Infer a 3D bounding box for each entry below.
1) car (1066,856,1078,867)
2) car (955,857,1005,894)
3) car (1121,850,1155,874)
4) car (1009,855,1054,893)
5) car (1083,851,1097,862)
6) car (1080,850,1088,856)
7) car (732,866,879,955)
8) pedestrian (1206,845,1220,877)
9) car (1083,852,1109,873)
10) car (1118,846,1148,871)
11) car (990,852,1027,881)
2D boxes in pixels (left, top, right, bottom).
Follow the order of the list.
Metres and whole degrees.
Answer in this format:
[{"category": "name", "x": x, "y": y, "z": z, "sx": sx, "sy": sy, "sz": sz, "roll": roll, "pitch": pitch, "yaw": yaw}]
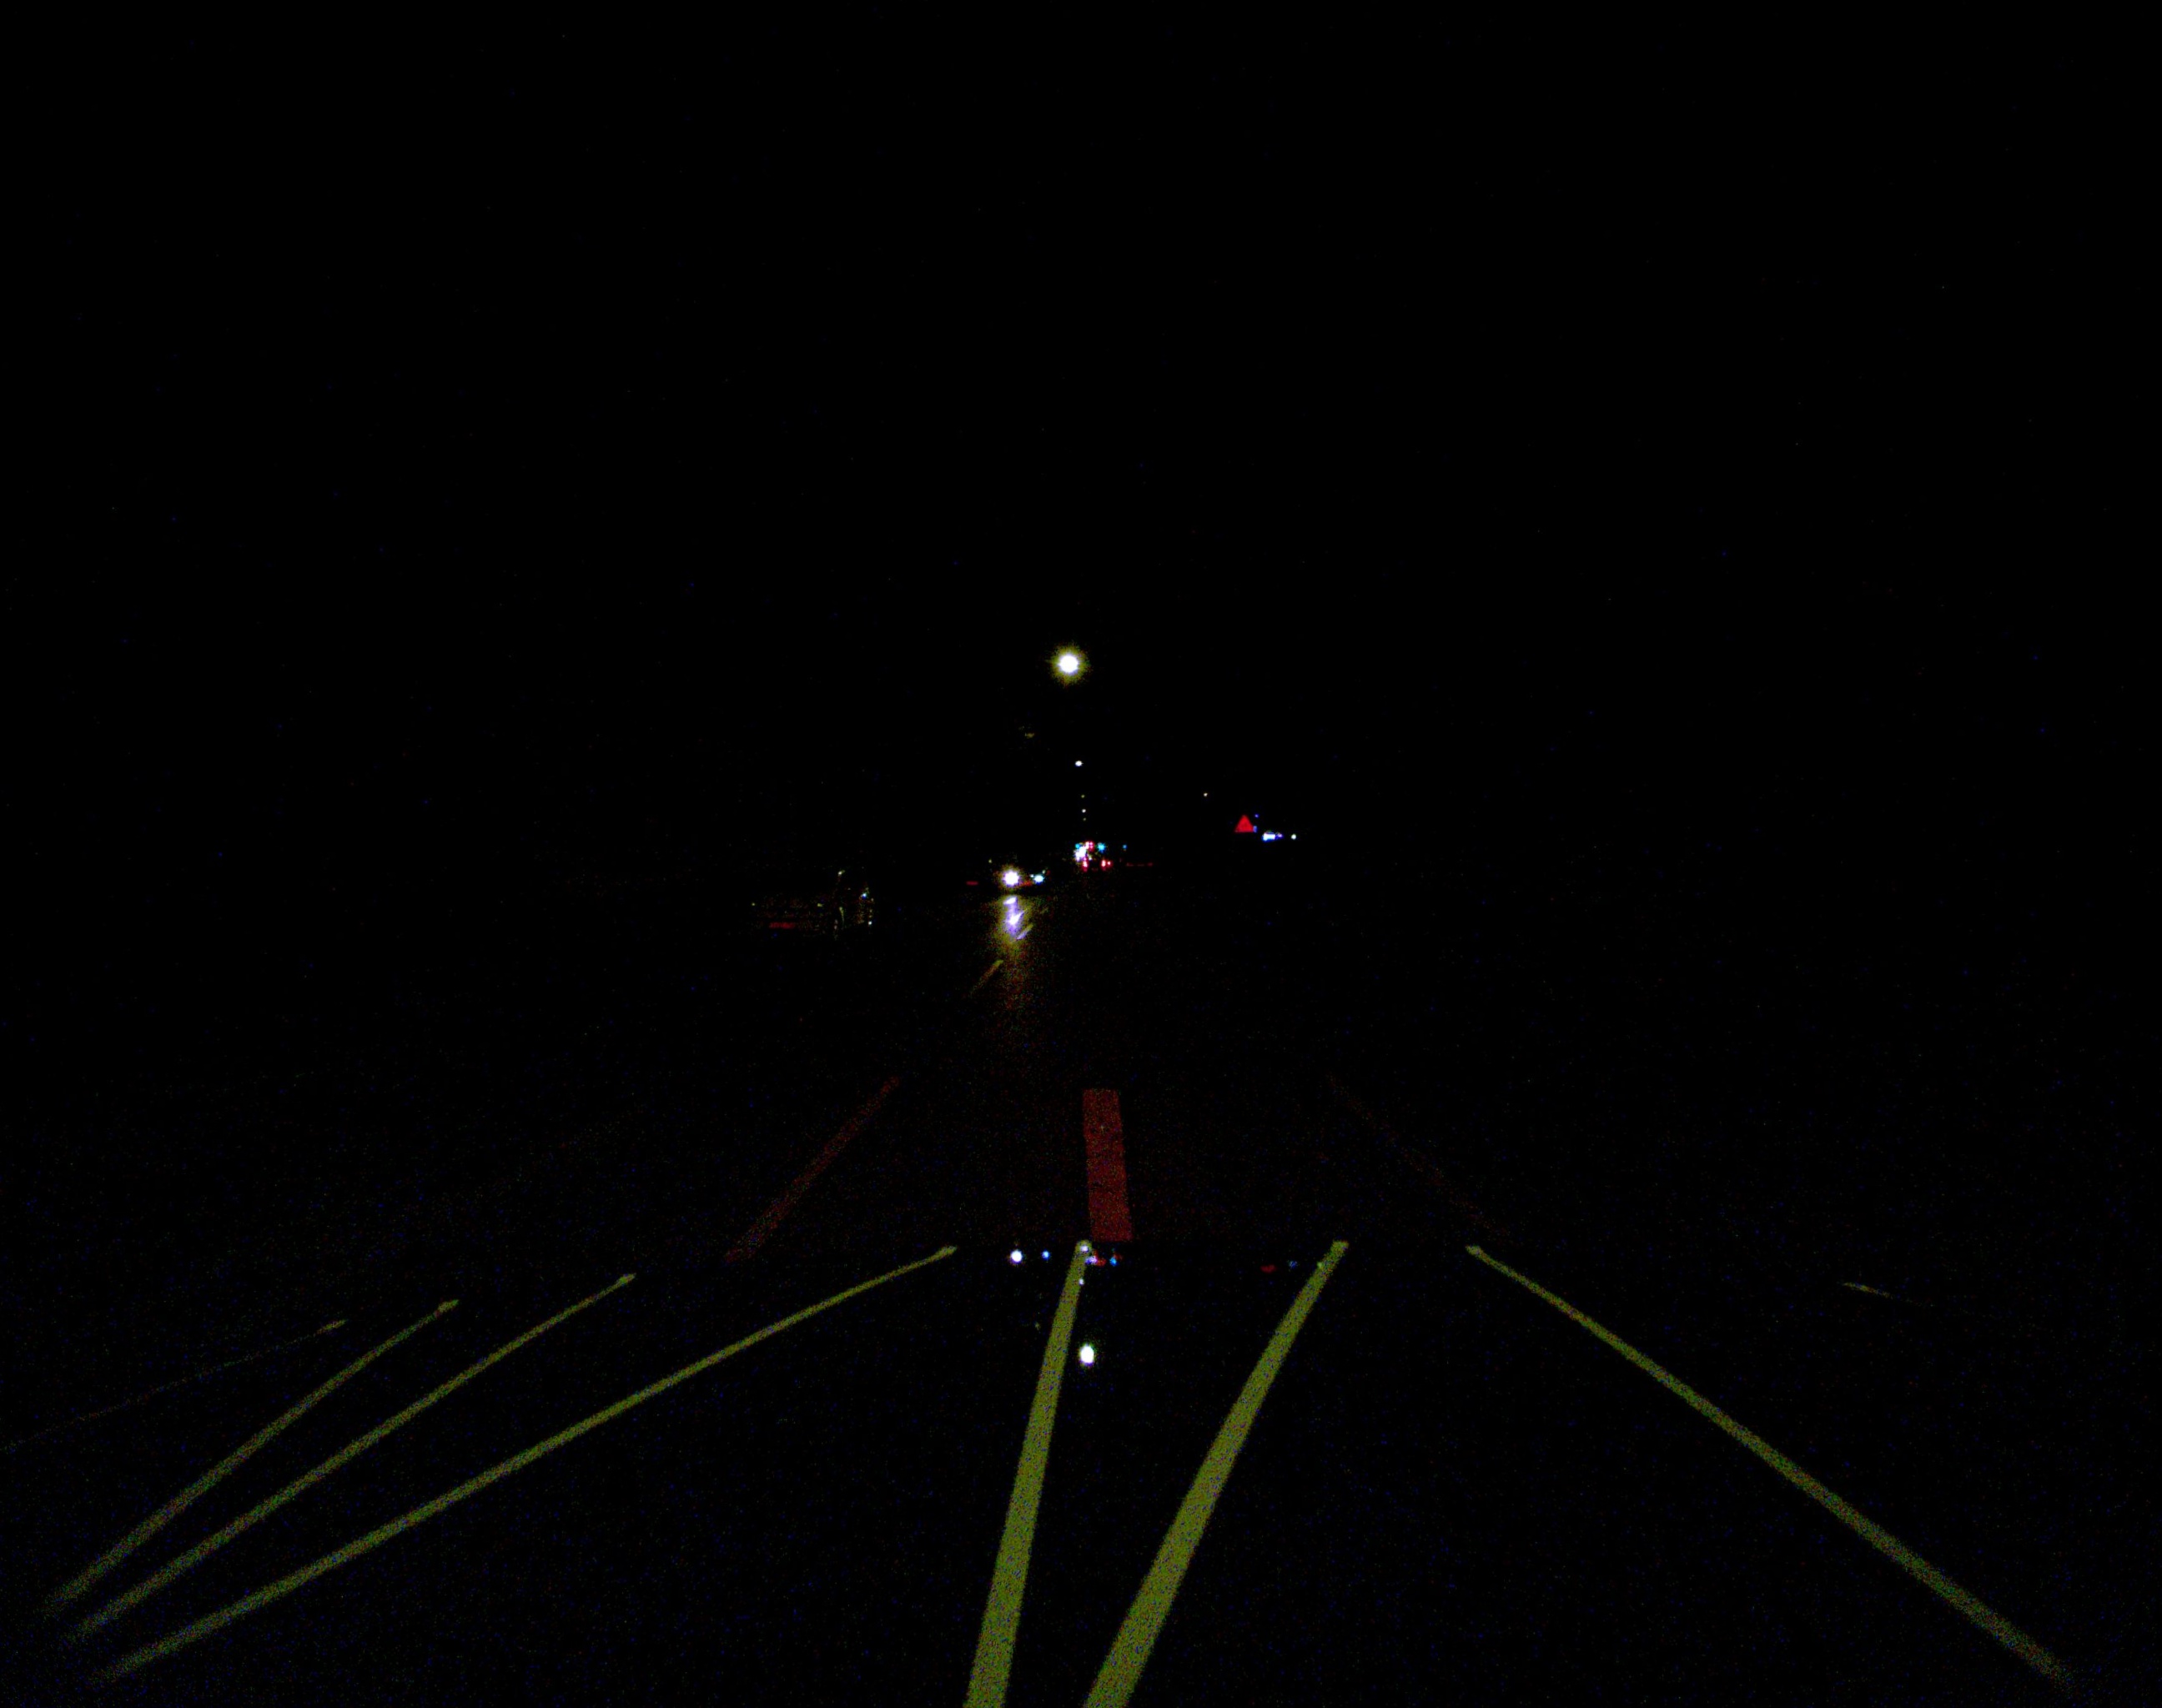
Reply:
[{"category": "car", "x": -1.518, "y": 1.341, "z": 134.762, "sx": 1.998, "sy": 1.718, "sz": 3.803, "roll": -2, "pitch": 1, "yaw": 1}, {"category": "car", "x": -4.469, "y": 0.901, "z": 33.941, "sx": 1.742, "sy": 1.489, "sz": 3.890, "roll": -1, "pitch": 0, "yaw": -1}, {"category": "car", "x": 3.891, "y": 0.509, "z": 52.074, "sx": 1.998, "sy": 1.477, "sz": 3.999, "roll": -3, "pitch": 1, "yaw": 1}, {"category": "car", "x": -2.155, "y": 0.848, "z": 33.895, "sx": 1.780, "sy": 1.477, "sz": 3.999, "roll": -2, "pitch": 1, "yaw": -1}, {"category": "car", "x": 1.462, "y": 0.436, "z": 118.960, "sx": 1.903, "sy": 1.581, "sz": 3.661, "roll": -2, "pitch": 1, "yaw": 4}, {"category": "car", "x": 0.846, "y": -0.329, "z": 214.464, "sx": 1.998, "sy": 1.740, "sz": 3.999, "roll": -2, "pitch": 1, "yaw": 1}, {"category": "car", "x": -5.291, "y": 1.017, "z": 15.060, "sx": 1.611, "sy": 1.500, "sz": 3.486, "roll": 0, "pitch": 0, "yaw": 1}, {"category": "pedestrian", "x": 7.314, "y": 0.377, "z": 42.134, "sx": 0.673, "sy": 1.750, "sz": 0.500, "roll": -2, "pitch": 1, "yaw": 1}, {"category": "car", "x": 1.087, "y": 0.641, "z": 56.052, "sx": 1.755, "sy": 1.433, "sz": 3.487, "roll": -2, "pitch": -2, "yaw": -1}, {"category": "car", "x": 3.877, "y": 0.300, "z": 56.993, "sx": 1.998, "sy": 1.772, "sz": 3.999, "roll": -2, "pitch": 1, "yaw": 1}, {"category": "car", "x": -4.459, "y": 0.747, "z": 47.473, "sx": 1.852, "sy": 1.643, "sz": 4.179, "roll": -2, "pitch": 0, "yaw": 0}]
